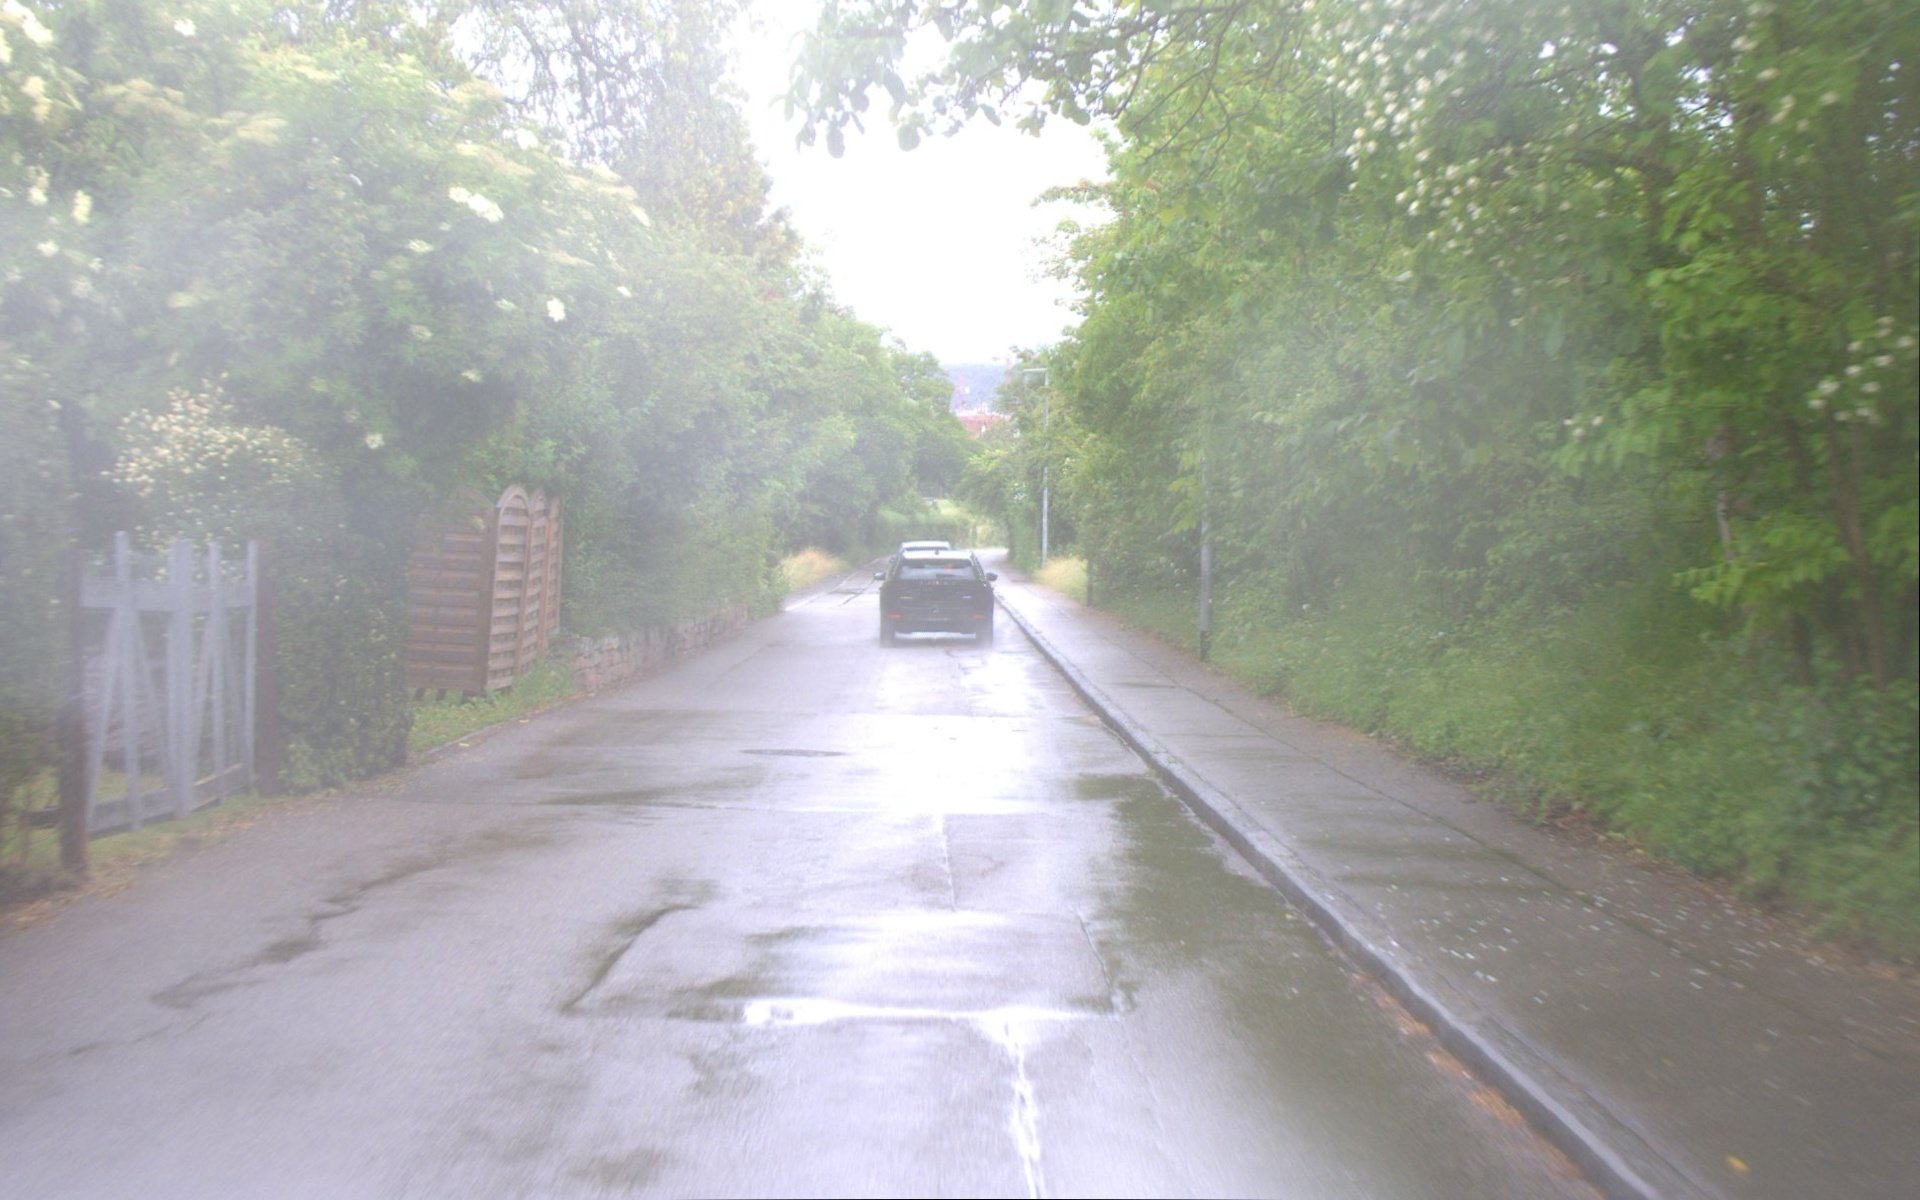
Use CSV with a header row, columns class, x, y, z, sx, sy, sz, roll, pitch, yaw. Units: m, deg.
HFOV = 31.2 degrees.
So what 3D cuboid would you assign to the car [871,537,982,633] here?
class,x,y,z,sx,sy,sz,roll,pitch,yaw
car,-0.496,-0.229,53.956,1.635,1.445,3.544,0,0,1
